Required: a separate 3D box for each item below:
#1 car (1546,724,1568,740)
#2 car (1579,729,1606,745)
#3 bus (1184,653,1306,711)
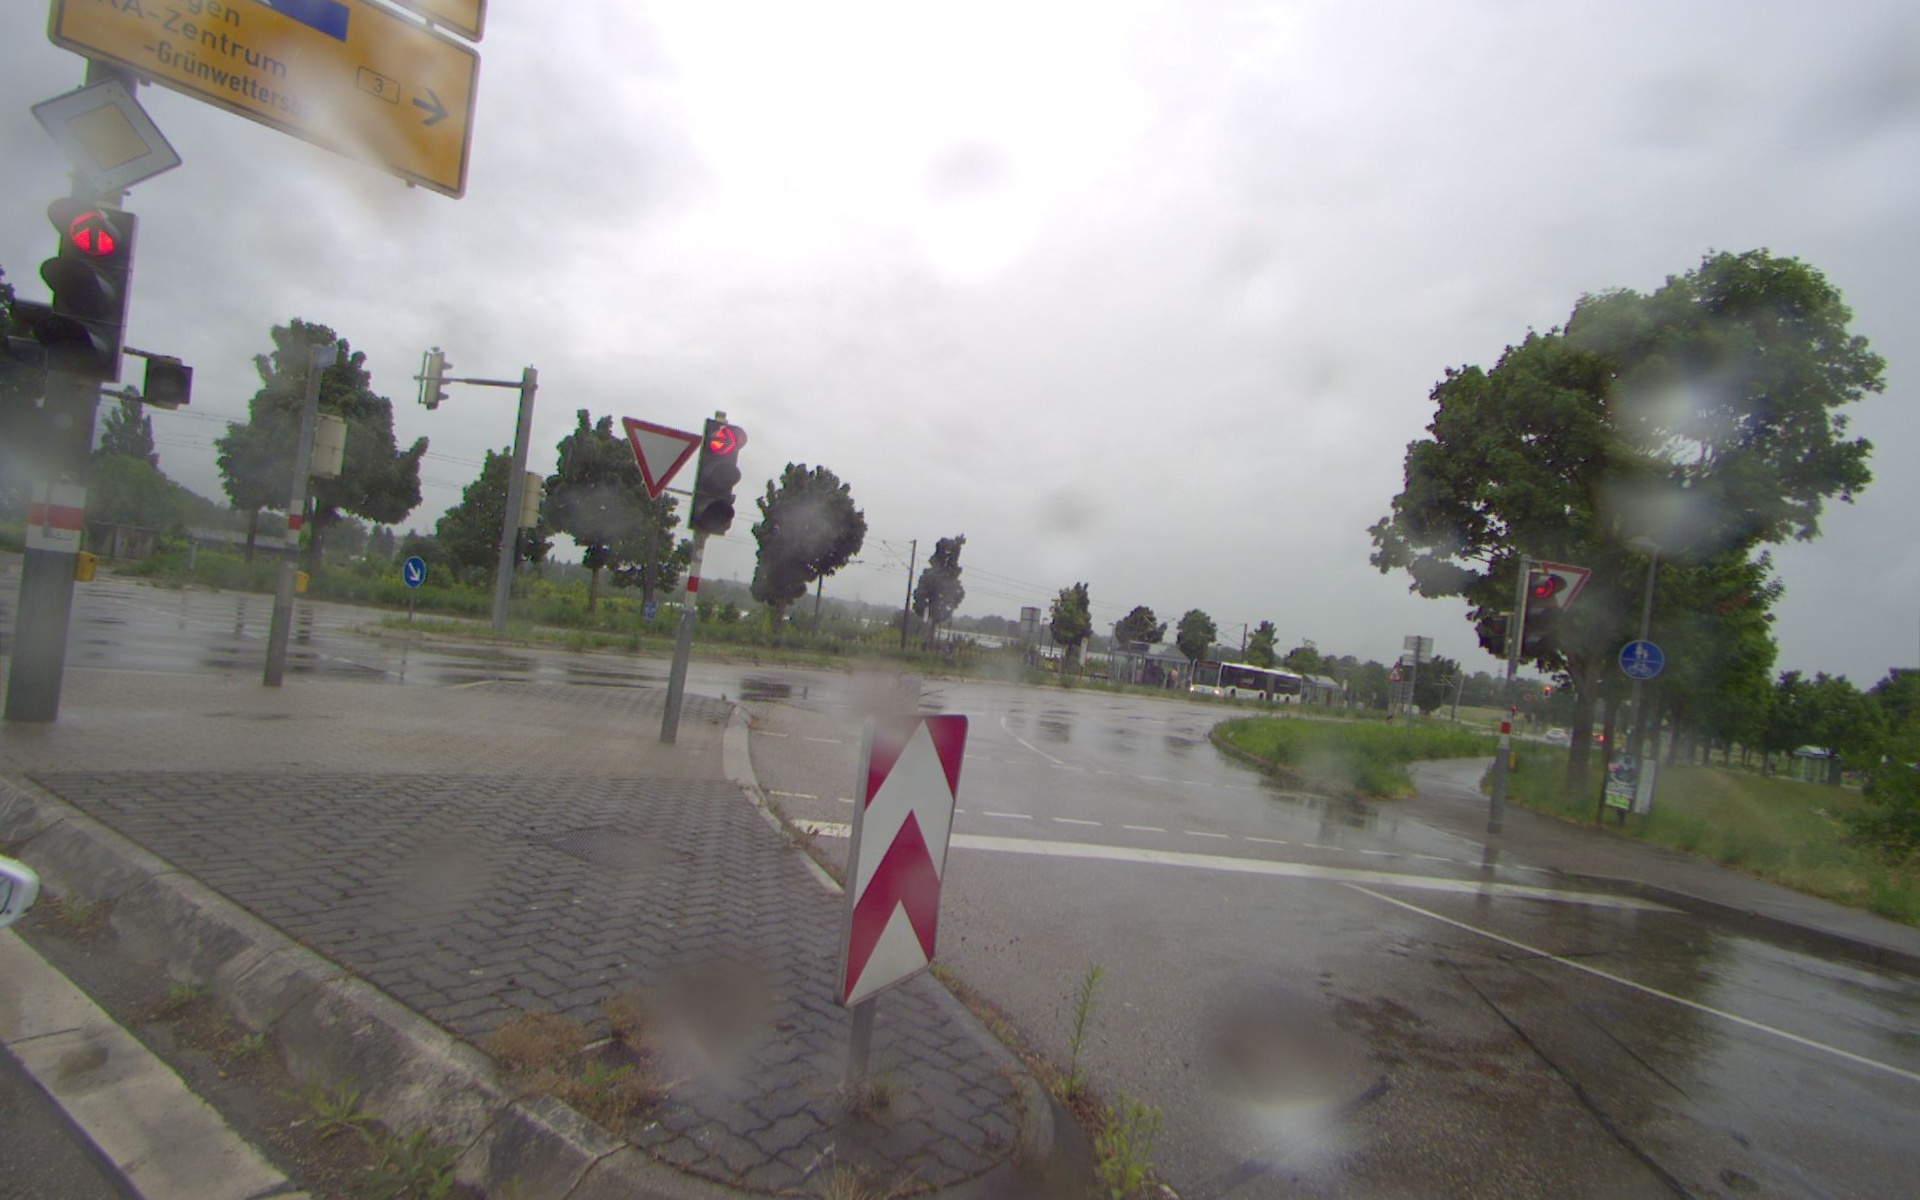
[{"bbox_3d":[66.663,14.725,112.308,1.850,1.370,4.042,7,-1,34],"label":"car"},{"bbox_3d":[69.595,15.081,110.679,1.853,1.370,4.036,6,-2,40],"label":"car"},{"bbox_3d":[24.287,7.046,84.299,2.716,3.828,18.378,7,-2,38],"label":"bus"}]
